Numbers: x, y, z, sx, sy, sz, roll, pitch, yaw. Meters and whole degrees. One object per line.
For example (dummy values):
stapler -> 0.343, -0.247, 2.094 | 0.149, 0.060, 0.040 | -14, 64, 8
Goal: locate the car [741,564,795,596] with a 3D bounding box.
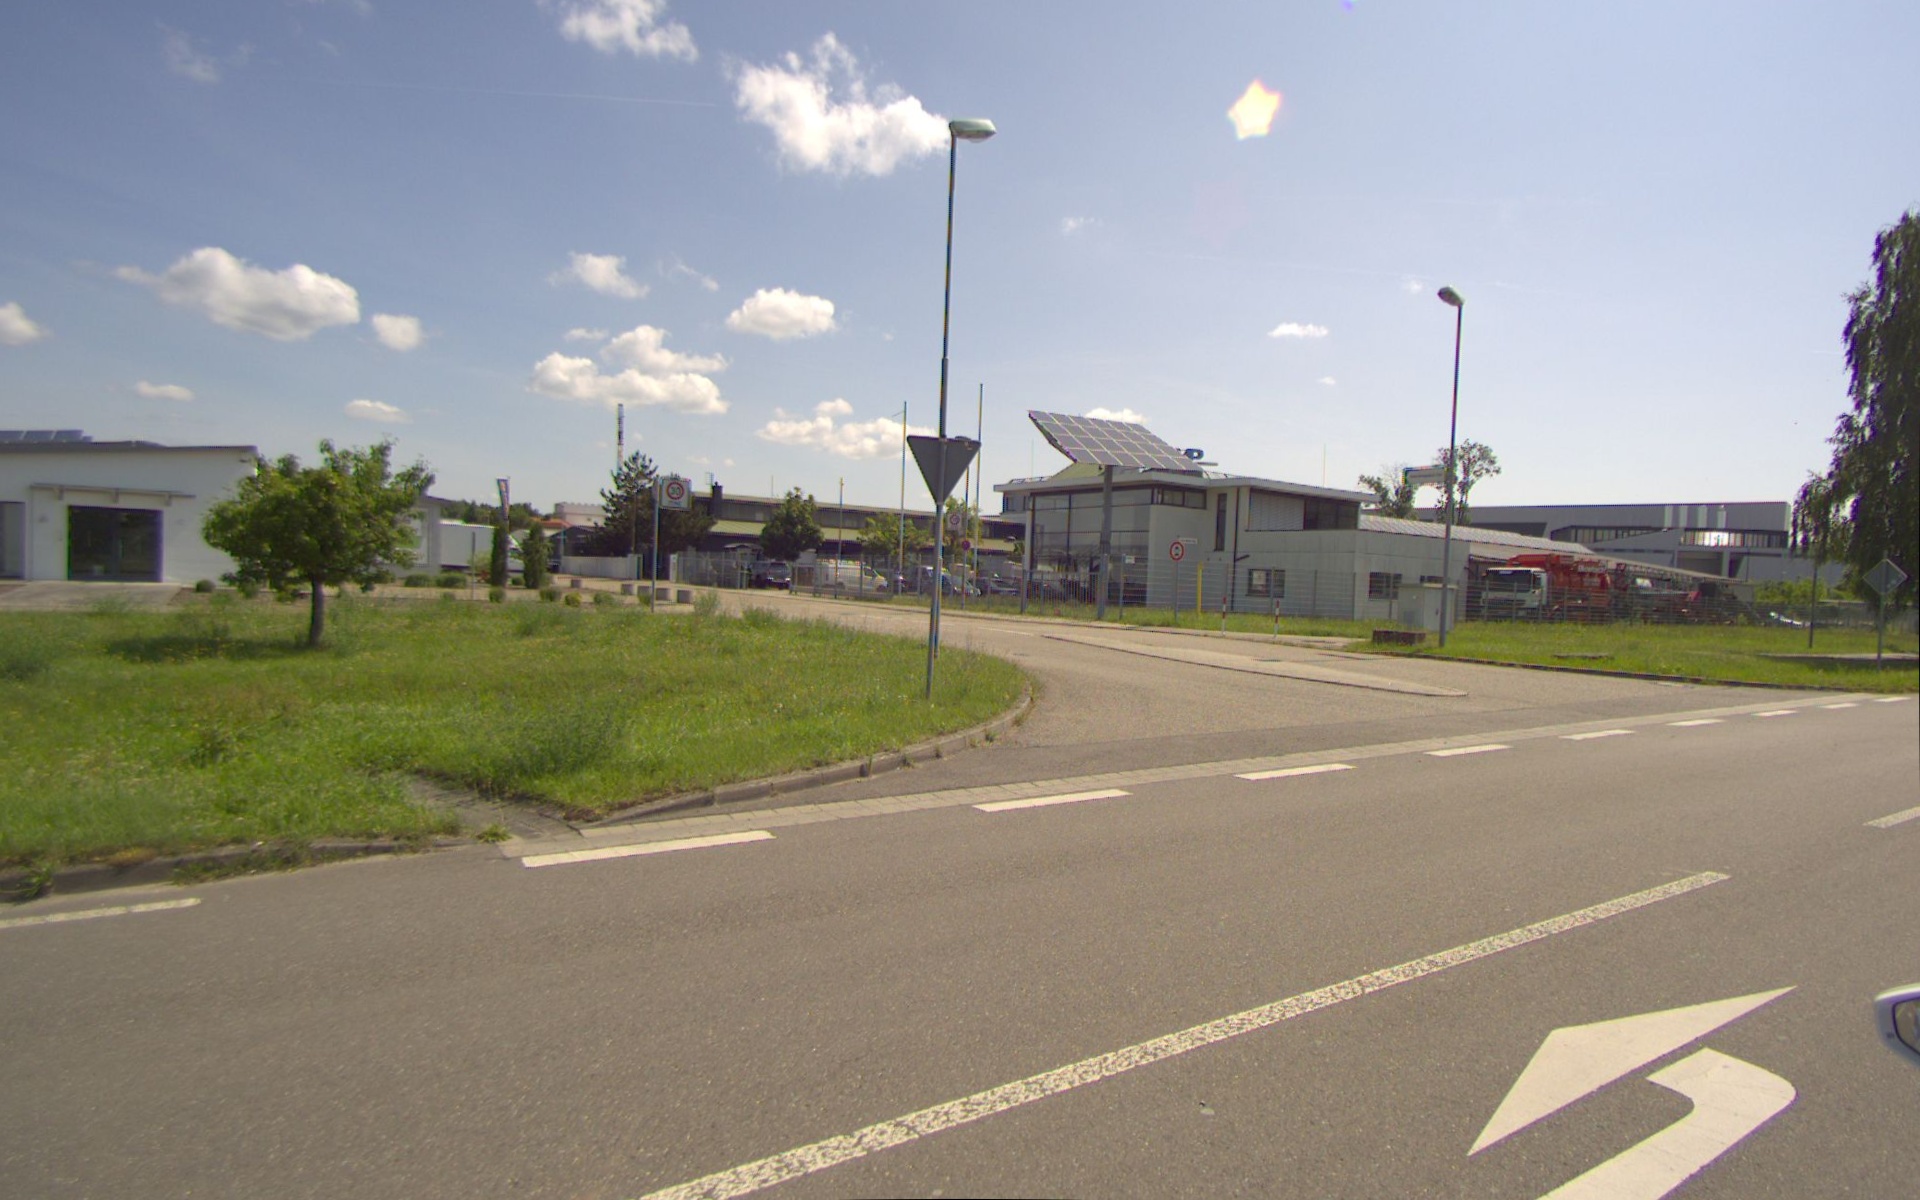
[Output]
car -> -12.629, -1.336, 65.978 | 1.981, 1.874, 3.958 | 1, 2, -36

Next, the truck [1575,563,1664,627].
truck -> 38.866, -0.278, 59.183 | 5.388, 3.499, 2.418 | 1, 2, -35

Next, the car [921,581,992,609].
car -> -0.223, -0.275, 52.166 | 1.785, 1.261, 3.960 | 1, 2, -35

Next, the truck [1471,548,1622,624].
truck -> 30.956, -0.681, 52.762 | 10.165, 3.606, 2.734 | 1, 2, -35

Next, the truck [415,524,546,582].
truck -> -29.759, -2.903, 62.498 | 7.121, 3.256, 1.980 | 1, 2, -36

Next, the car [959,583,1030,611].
car -> 1.798, -0.165, 53.585 | 1.785, 1.261, 3.960 | 1, 2, -35

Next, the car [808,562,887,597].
car -> -7.159, -1.284, 64.053 | 4.704, 2.041, 1.976 | 1, 2, -41

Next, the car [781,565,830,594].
car -> -10.477, -1.374, 68.000 | 1.672, 1.777, 3.810 | 1, 2, -37

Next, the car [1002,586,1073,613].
car -> 4.245, -0.029, 55.240 | 1.785, 1.261, 3.960 | 1, 2, -35
